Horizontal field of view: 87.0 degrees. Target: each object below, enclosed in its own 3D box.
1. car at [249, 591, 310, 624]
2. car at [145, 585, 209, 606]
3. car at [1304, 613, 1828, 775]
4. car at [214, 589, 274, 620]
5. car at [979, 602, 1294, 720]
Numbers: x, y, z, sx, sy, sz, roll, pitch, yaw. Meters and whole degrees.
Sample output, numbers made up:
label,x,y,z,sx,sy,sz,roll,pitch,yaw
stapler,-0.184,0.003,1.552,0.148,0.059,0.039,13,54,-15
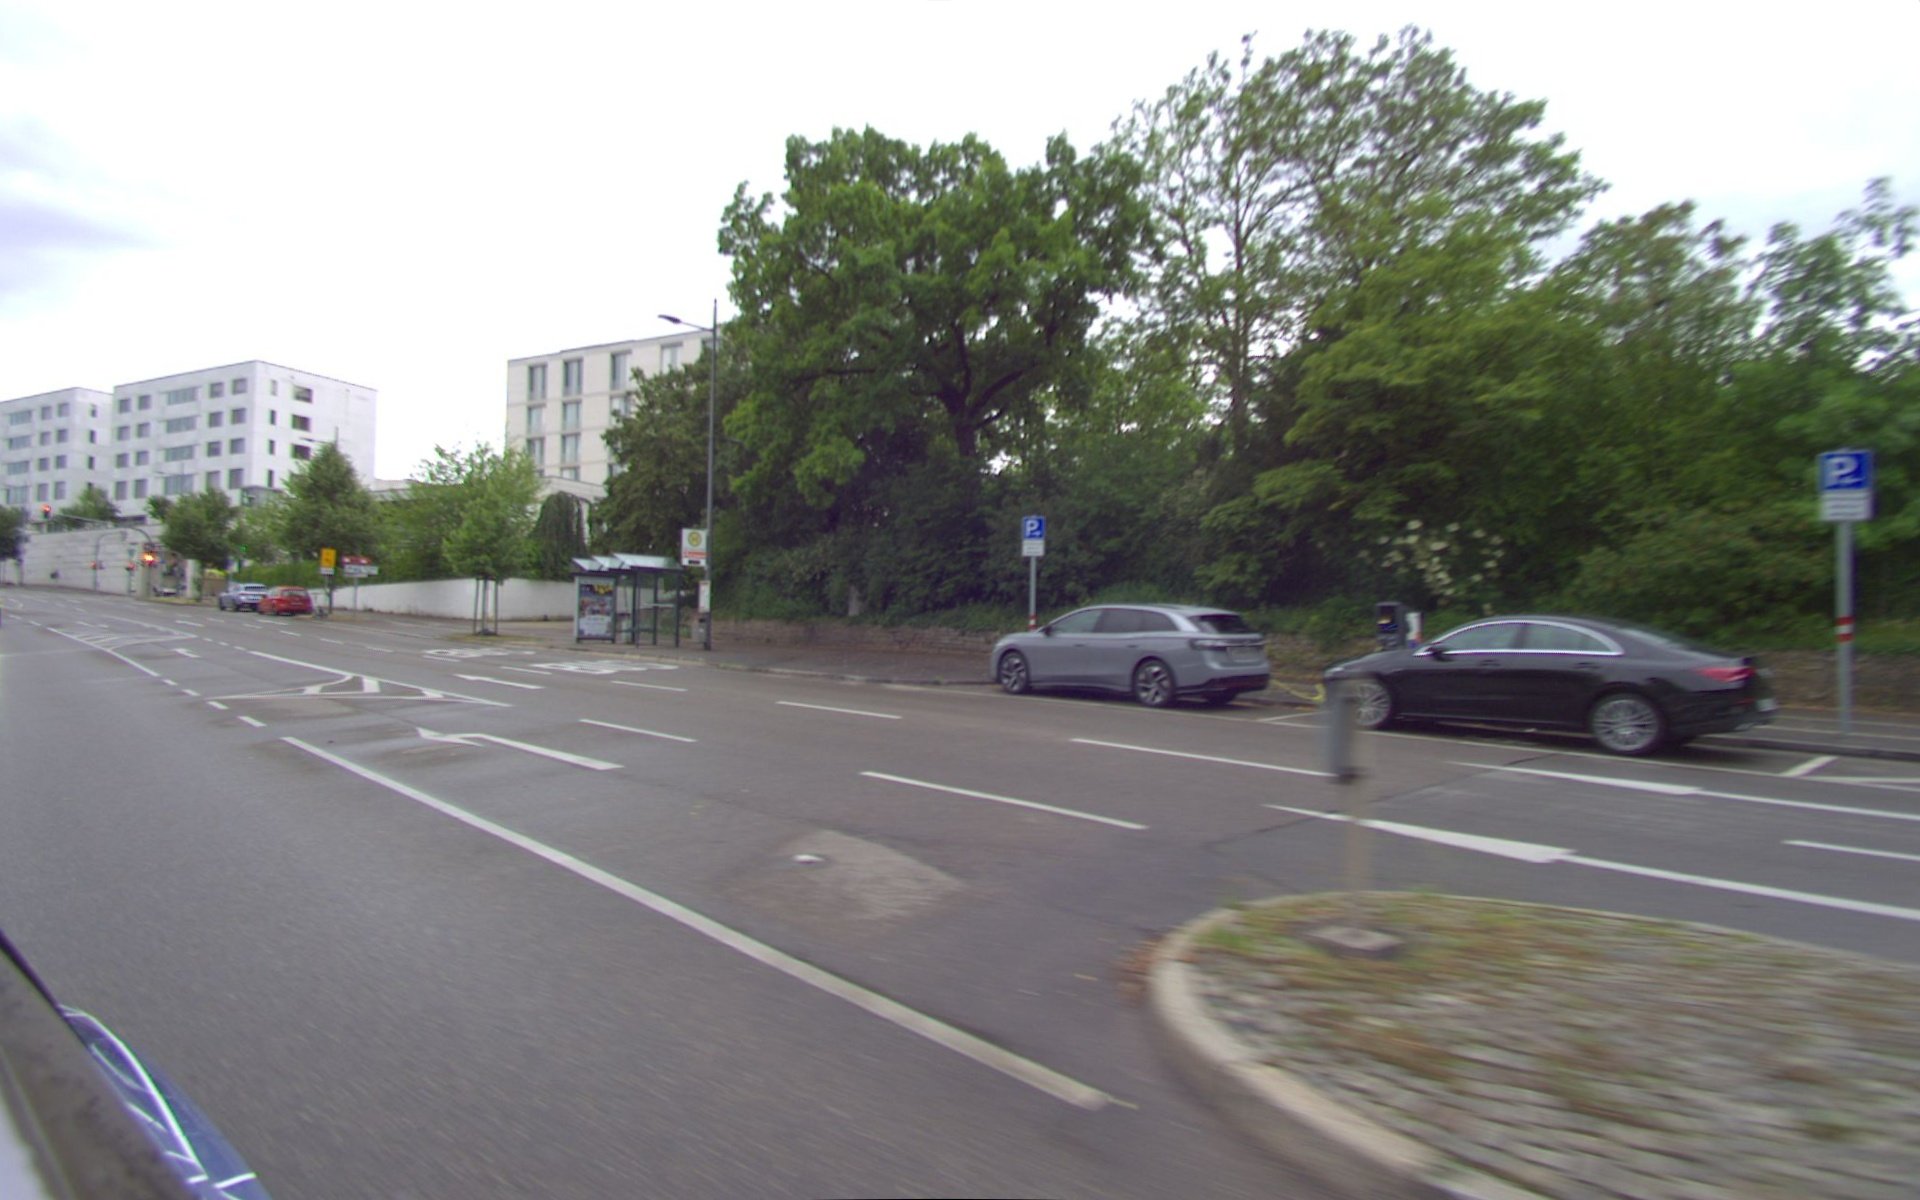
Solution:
label,x,y,z,sx,sy,sz,roll,pitch,yaw
car,-37.001,0.402,55.027,4.215,1.599,1.647,2,-1,41
car,-74.585,-0.409,96.446,1.987,1.664,4.313,2,-2,23
car,6.599,0.875,11.525,1.883,1.425,4.789,1,-1,-42
car,-42.218,0.240,59.641,4.881,1.666,1.746,2,1,41
car,2.634,0.841,16.235,1.818,1.601,4.935,1,-1,-42
